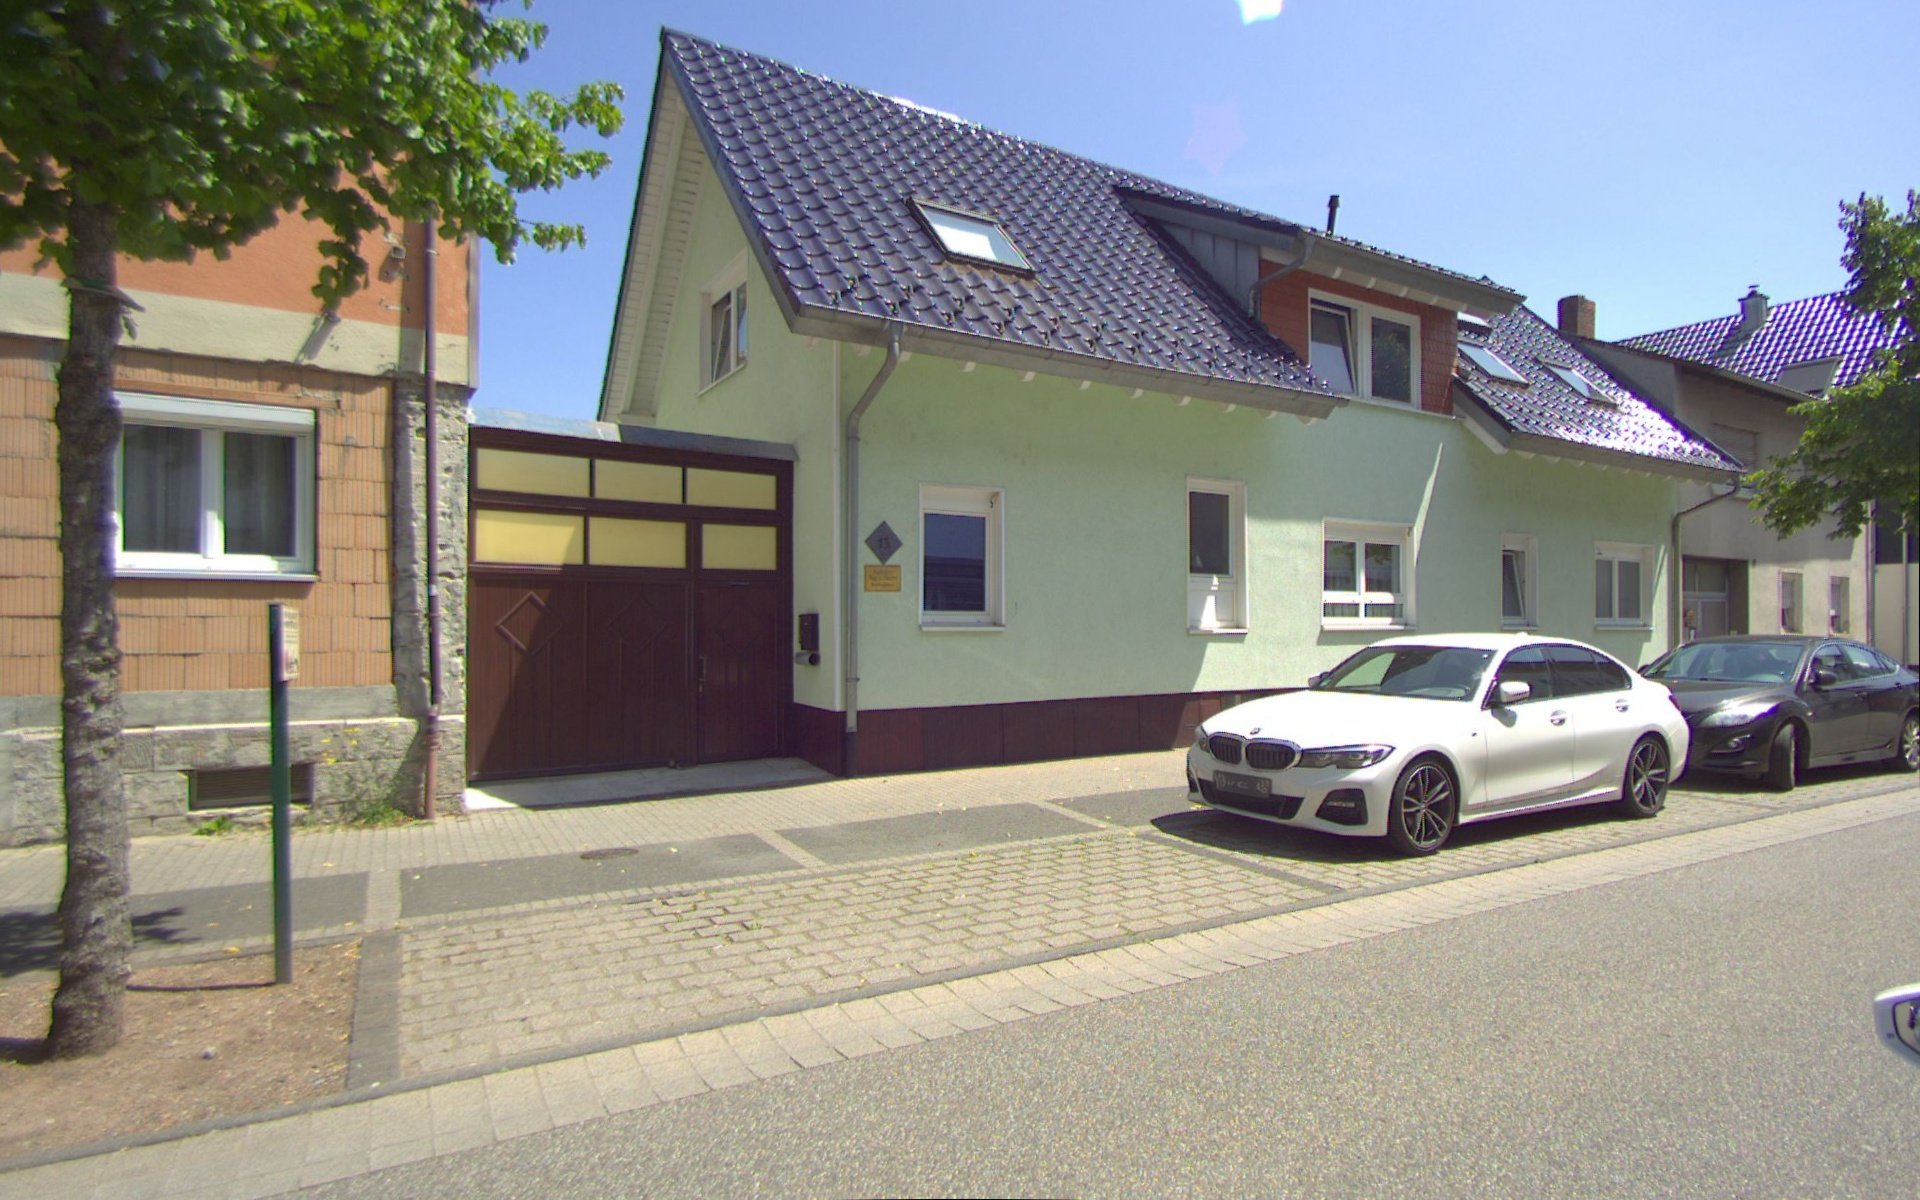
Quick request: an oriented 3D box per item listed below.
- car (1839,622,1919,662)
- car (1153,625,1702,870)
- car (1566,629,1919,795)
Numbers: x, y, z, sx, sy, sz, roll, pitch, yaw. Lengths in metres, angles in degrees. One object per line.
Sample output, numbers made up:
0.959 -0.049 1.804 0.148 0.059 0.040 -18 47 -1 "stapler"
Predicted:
38.787 1.698 41.354 3.874 1.566 1.509 -1 0 44 "car"
3.784 0.942 7.925 4.406 1.456 1.712 1 -1 -30 "car"
8.597 1.047 10.755 4.484 1.456 1.653 1 -1 -30 "car"
